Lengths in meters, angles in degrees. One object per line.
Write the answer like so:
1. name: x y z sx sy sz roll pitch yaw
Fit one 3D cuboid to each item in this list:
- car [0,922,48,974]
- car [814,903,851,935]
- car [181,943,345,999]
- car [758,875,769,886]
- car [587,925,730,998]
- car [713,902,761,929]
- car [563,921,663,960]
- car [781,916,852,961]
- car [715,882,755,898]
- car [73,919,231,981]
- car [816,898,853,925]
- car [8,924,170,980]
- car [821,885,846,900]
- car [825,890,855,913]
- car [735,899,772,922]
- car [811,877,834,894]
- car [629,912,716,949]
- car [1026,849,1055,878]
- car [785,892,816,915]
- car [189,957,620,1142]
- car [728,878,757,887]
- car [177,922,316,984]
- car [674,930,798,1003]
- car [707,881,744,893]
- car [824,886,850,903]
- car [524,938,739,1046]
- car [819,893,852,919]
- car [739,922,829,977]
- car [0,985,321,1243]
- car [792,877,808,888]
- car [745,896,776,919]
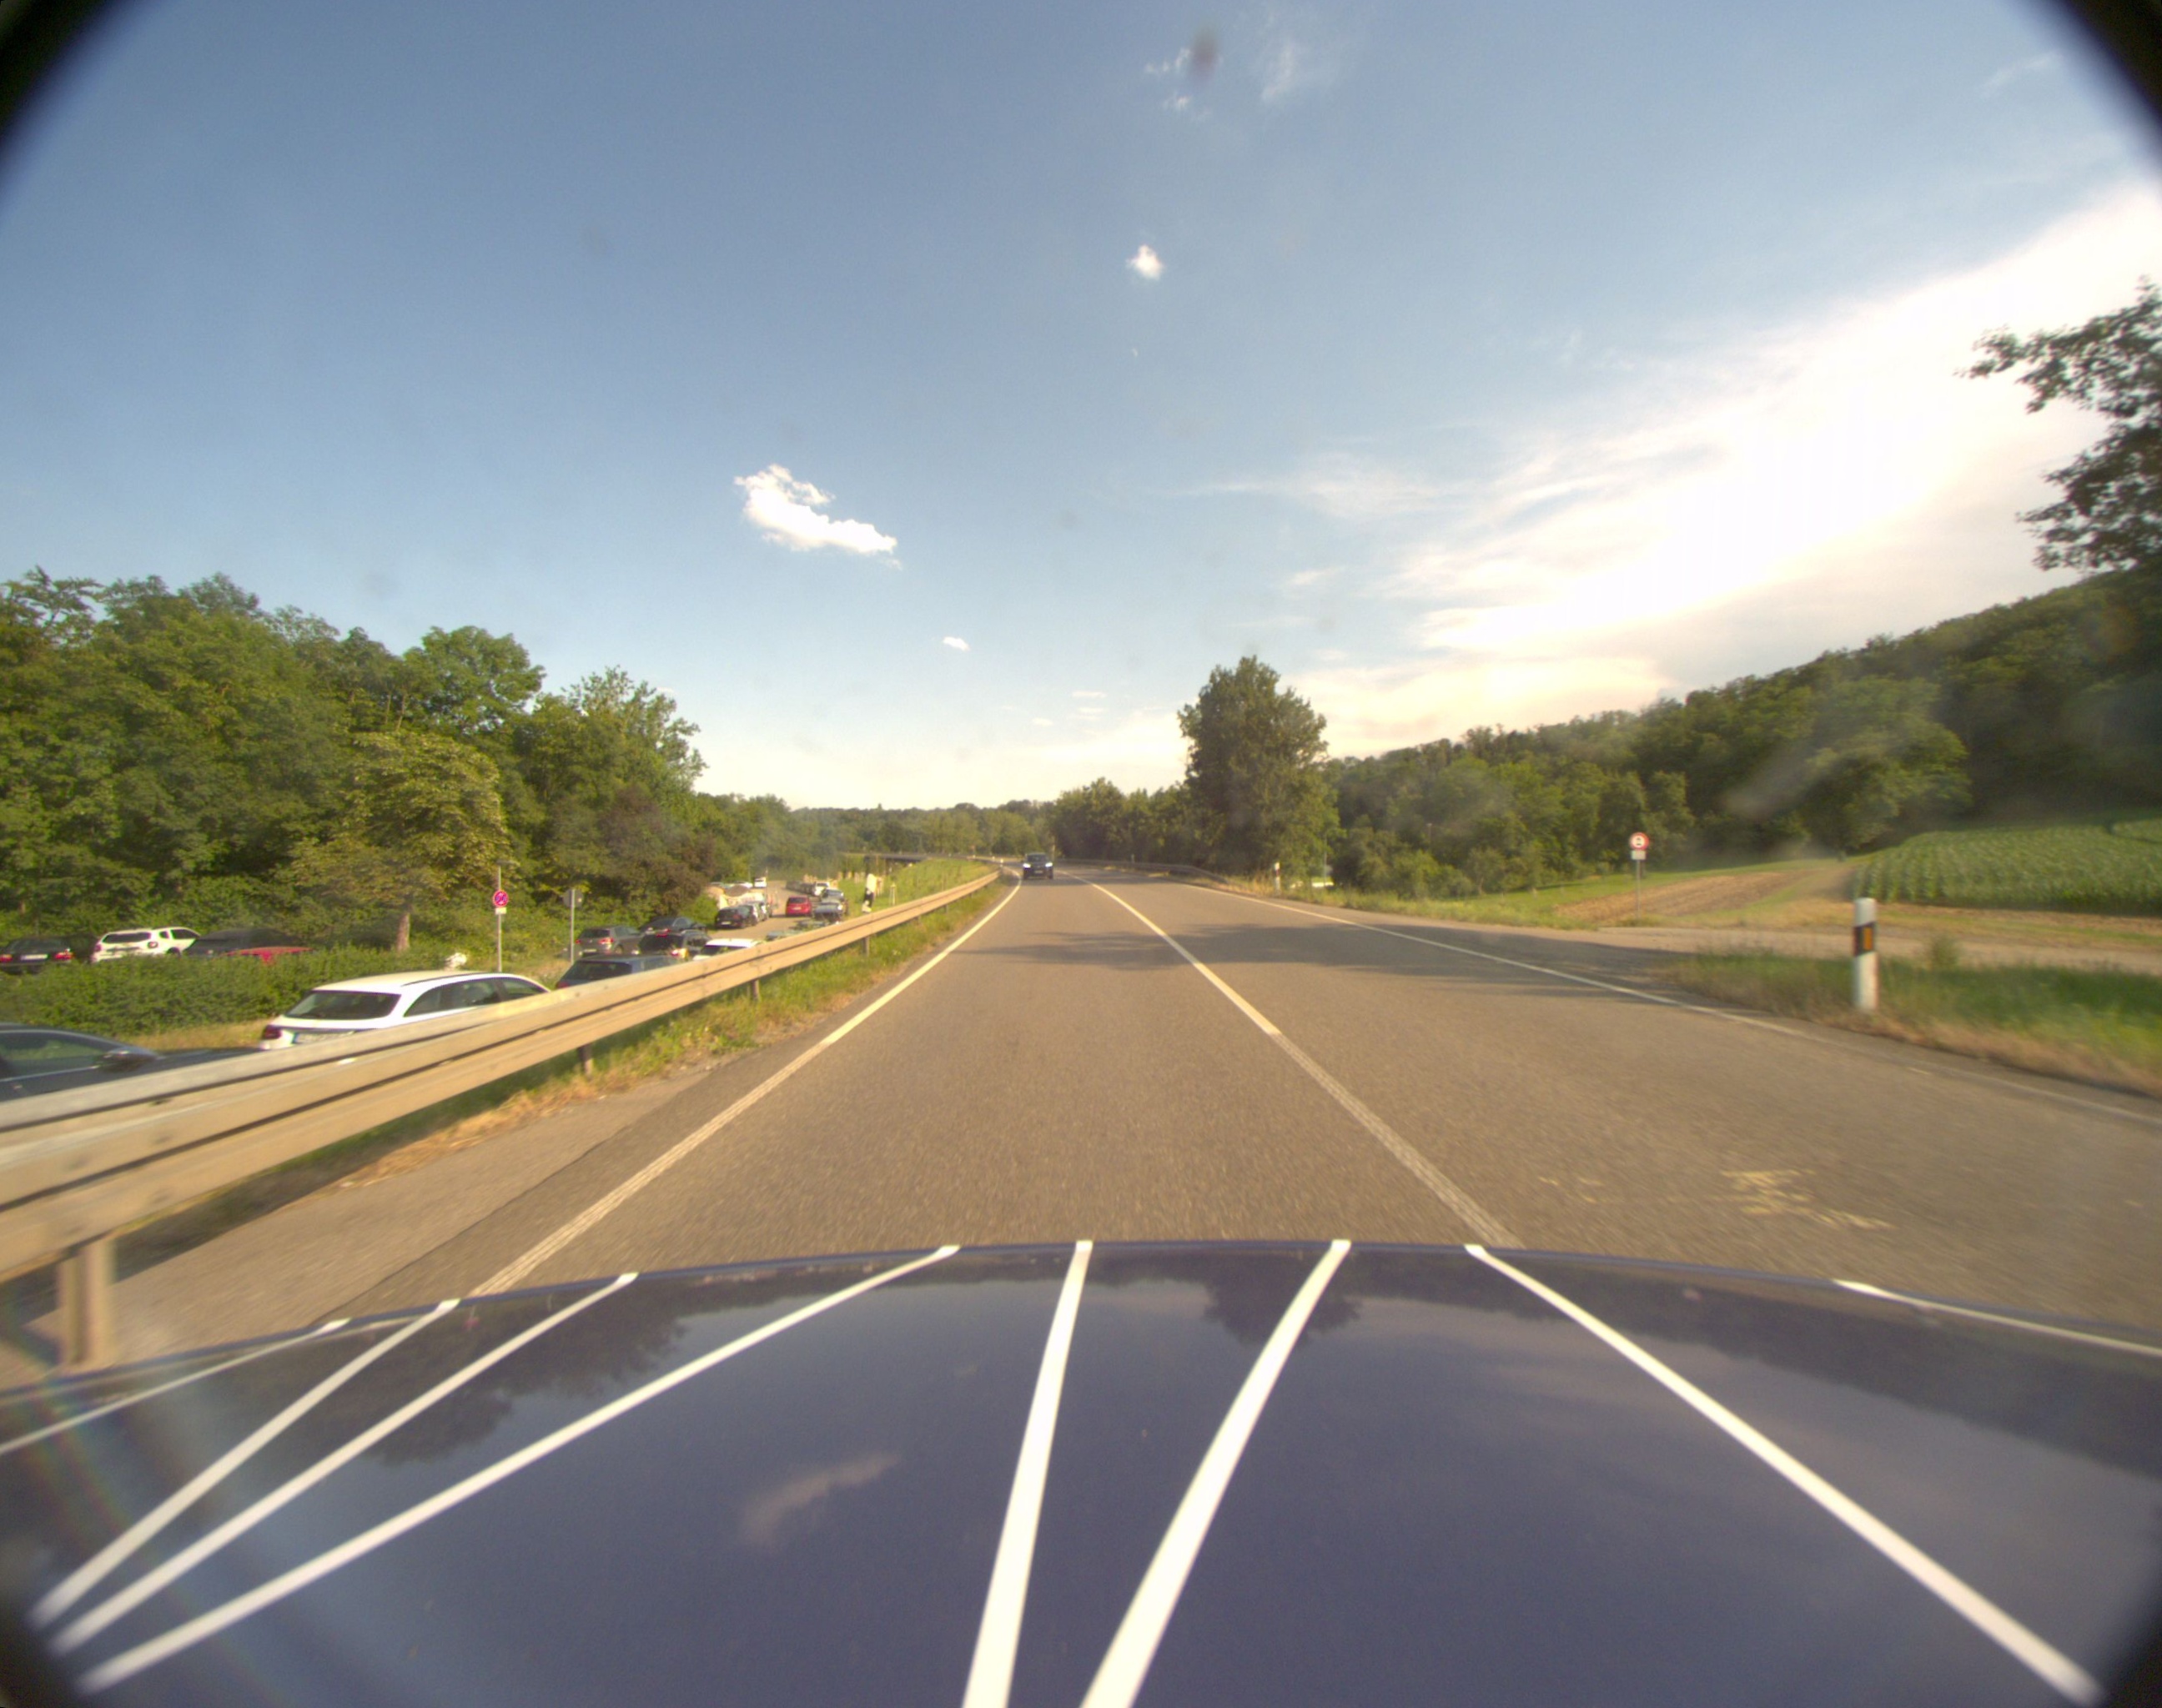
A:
1. car: -39.266 3.425 26.675 1.806 1.681 4.586 -2 0 -30
2. car: -14.574 3.791 44.713 1.900 1.550 4.776 2 -2 -17
3. car: -26.814 3.815 24.978 3.772 1.534 1.655 -1 0 5
4. car: -54.509 4.596 130.390 1.662 1.657 4.698 -1 1 -24
5. car: -12.707 3.177 23.252 1.897 1.664 4.782 2 -2 -4
6. car: -22.600 4.004 50.125 1.707 1.390 4.780 2 0 -10
7. car: -20.828 3.821 34.041 1.705 1.390 4.102 2 -2 3
8. car: -11.446 3.613 33.209 1.898 1.550 4.780 2 -2 -7
9. car: -42.870 4.457 94.118 4.253 1.732 1.829 -2 0 -30
10. car: -34.246 3.480 28.227 1.806 1.681 4.587 -2 0 -24
11. car: -16.153 3.735 49.991 1.899 1.550 4.777 2 -2 -14
12. car: -36.772 3.564 28.377 1.901 1.550 4.772 1 -1 -29
13. car: -27.065 4.192 82.966 1.901 1.550 4.773 2 -2 -25
14. car: -19.253 3.772 60.642 1.900 1.550 4.774 -1 0 -22
15. car: -23.804 4.068 55.322 1.707 1.390 3.940 2 0 -13
16. car: -32.854 4.019 96.413 2.129 2.005 5.368 2 -2 -25
17. car: -21.115 3.912 39.558 1.705 1.390 4.786 2 0 3
18. car: -2.574 0.541 48.225 1.751 1.645 4.303 -1 2 -3
19. car: -22.640 3.949 61.440 1.899 1.676 5.080 0 -1 -15
20. car: -9.142 2.545 11.036 1.896 1.550 4.784 2 -2 0
21. car: -55.159 4.634 123.899 4.252 1.447 1.614 0 -1 -25
22. car: -31.304 3.639 28.718 1.806 1.681 4.587 -2 0 -24
23. car: -9.951 3.200 22.363 1.898 1.550 4.780 2 -2 -7
24. car: -49.827 4.578 106.435 4.423 1.447 1.730 -1 0 -35
25. car: -25.028 4.118 77.882 1.901 1.550 4.773 2 -2 -25
26. car: -9.351 2.810 16.390 1.897 1.550 4.782 2 -2 -3
27. car: -17.804 3.726 55.021 1.900 1.550 4.774 -1 0 -22
28. car: -10.859 3.461 28.166 1.898 1.550 4.780 2 -2 -7
29. car: -9.101 2.141 5.833 1.897 1.550 4.782 2 -2 -4
30. car: -45.356 4.613 122.749 1.827 1.648 4.247 1 -1 -29
31. car: -24.925 4.134 59.210 1.707 1.501 3.939 -1 0 -15
